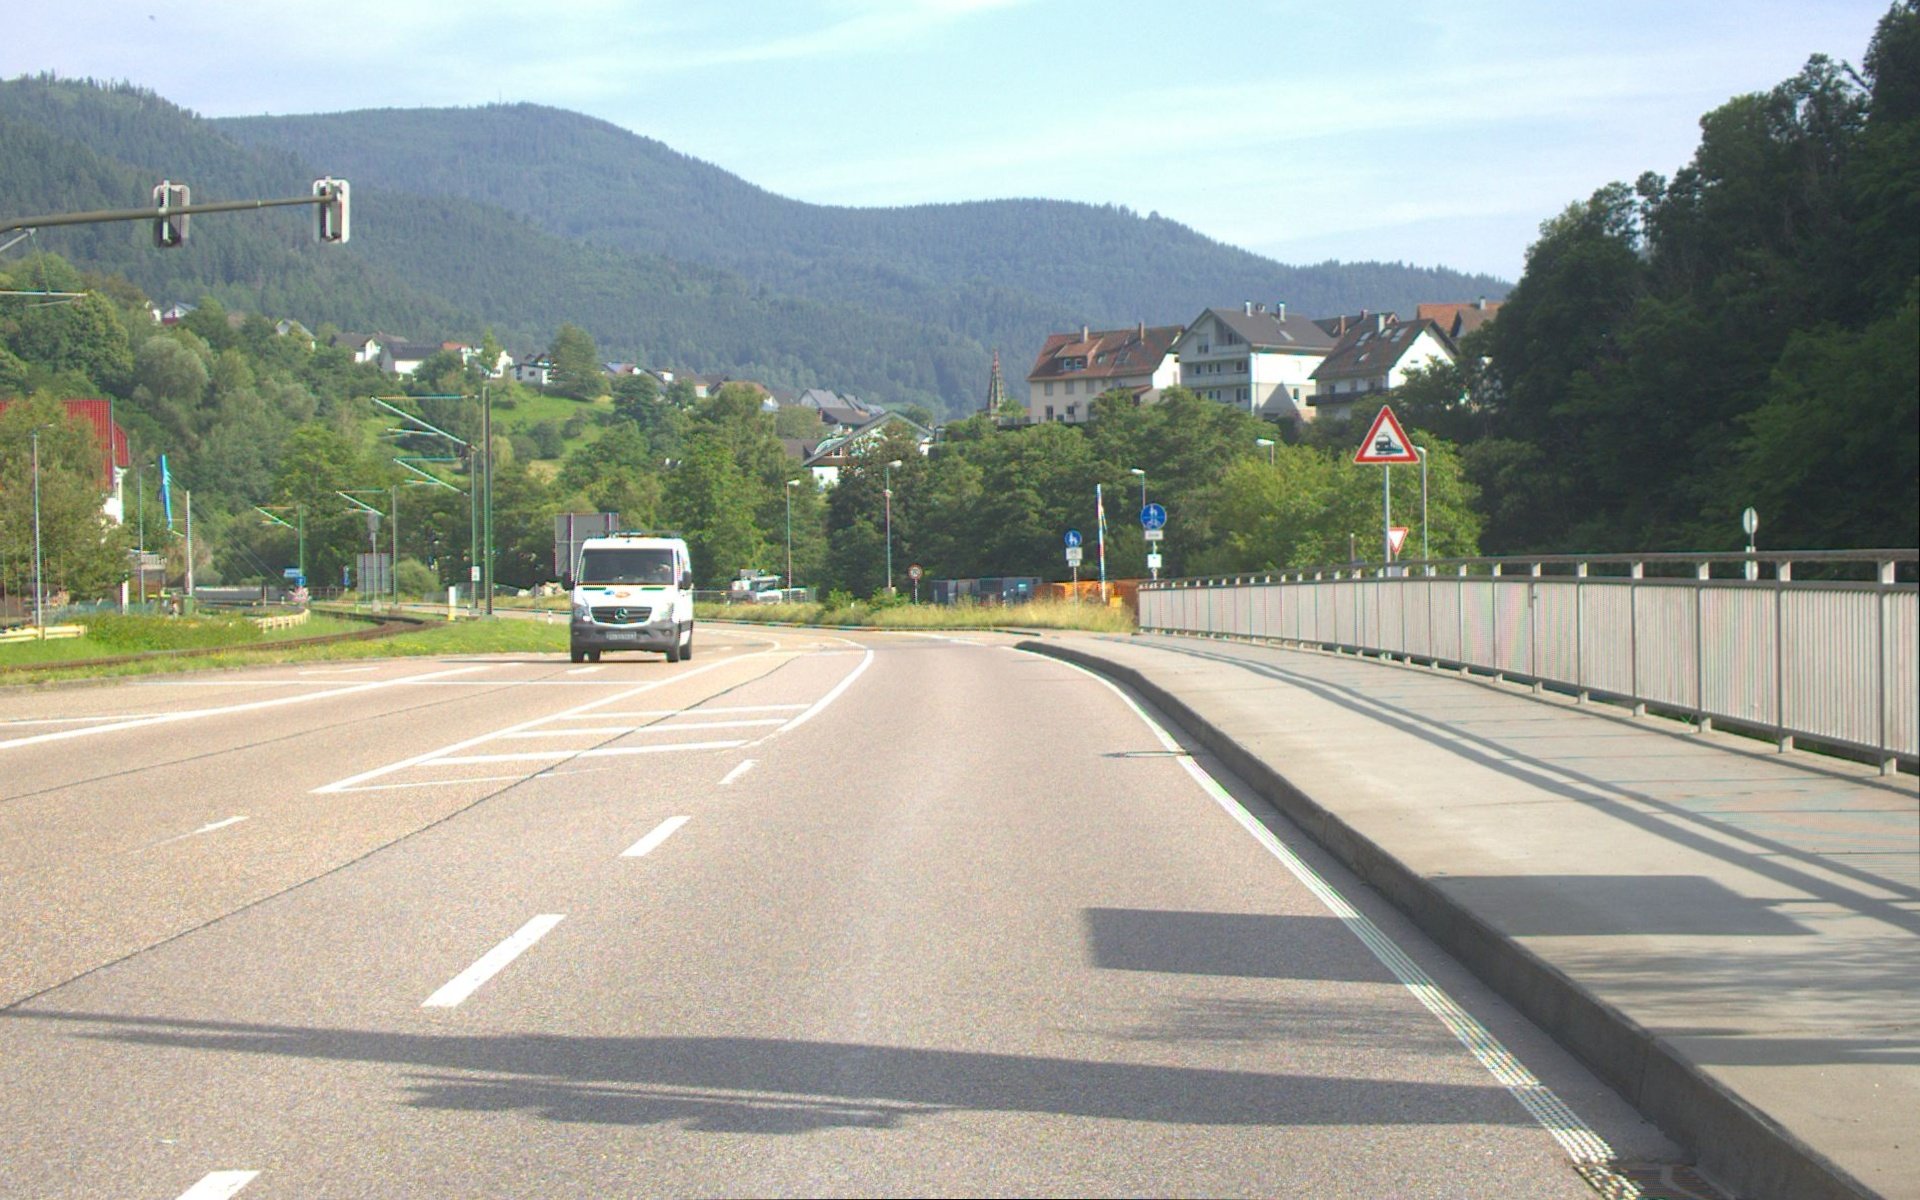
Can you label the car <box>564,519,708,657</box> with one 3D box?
[{"bbox_3d":[-5.938,-0.242,63.589,2.119,2.428,5.228,0,1,0],"label":"car"}]
